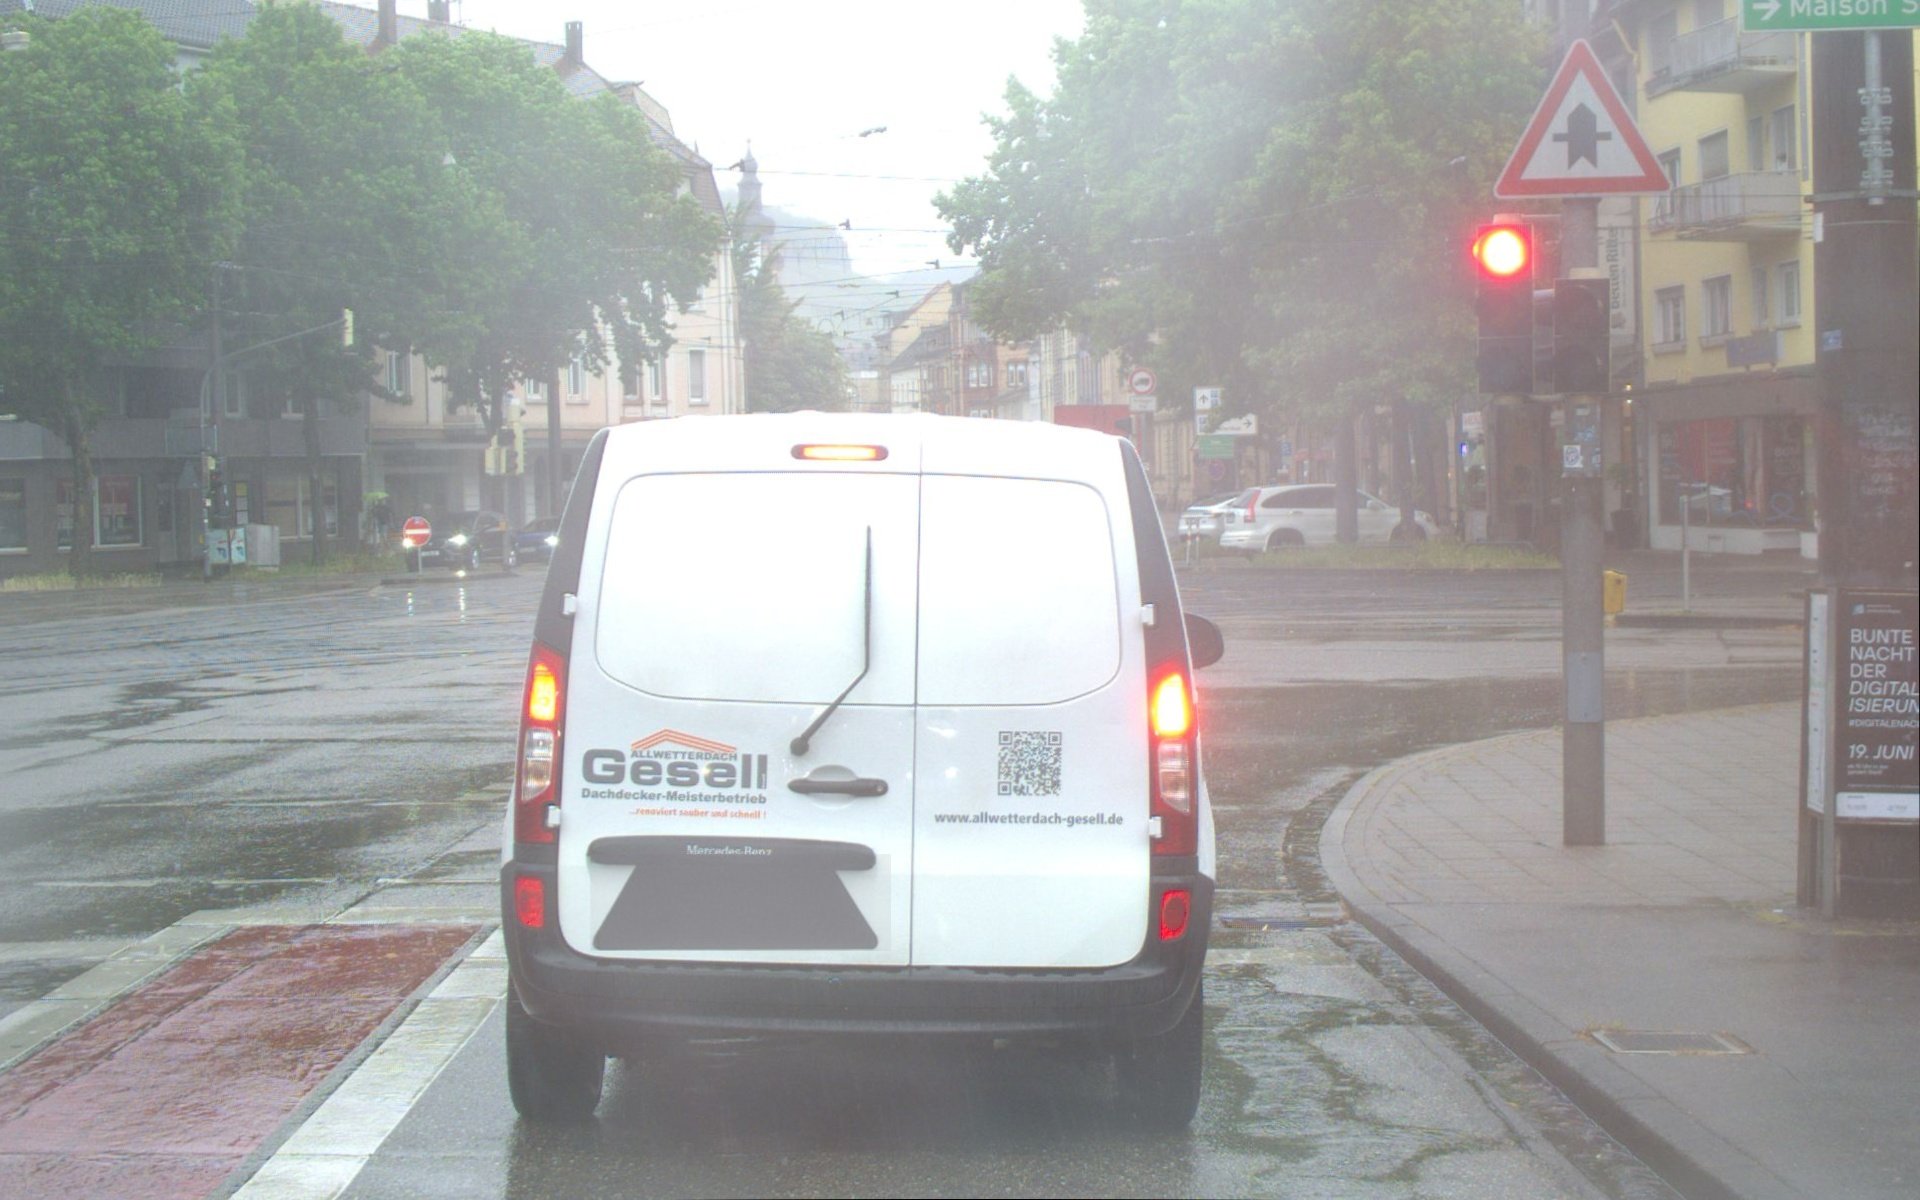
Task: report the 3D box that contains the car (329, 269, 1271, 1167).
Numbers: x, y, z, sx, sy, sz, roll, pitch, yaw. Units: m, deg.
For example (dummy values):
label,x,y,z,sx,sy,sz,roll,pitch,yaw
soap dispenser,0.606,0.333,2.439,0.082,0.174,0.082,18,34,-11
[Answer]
label,x,y,z,sx,sy,sz,roll,pitch,yaw
car,-0.382,0.224,10.226,2.100,2.005,4.963,-1,1,-1

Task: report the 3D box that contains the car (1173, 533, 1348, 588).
label,x,y,z,sx,sy,sz,roll,pitch,yaw
car,6.319,-0.837,72.413,3.441,1.126,1.472,0,1,-8

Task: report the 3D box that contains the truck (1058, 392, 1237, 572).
label,x,y,z,sx,sy,sz,roll,pitch,yaw
truck,5.903,-3.510,104.818,3.471,5.070,15.301,0,1,11

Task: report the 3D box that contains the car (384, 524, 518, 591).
label,x,y,z,sx,sy,sz,roll,pitch,yaw
car,-13.289,-1.141,90.043,1.952,1.602,3.997,0,3,16

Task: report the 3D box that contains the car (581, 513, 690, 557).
label,x,y,z,sx,sy,sz,roll,pitch,yaw
car,-9.880,-1.992,104.847,1.952,1.235,3.997,0,3,16

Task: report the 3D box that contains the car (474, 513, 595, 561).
label,x,y,z,sx,sy,sz,roll,pitch,yaw
car,-11.947,-1.784,96.800,1.952,1.235,3.997,0,3,16

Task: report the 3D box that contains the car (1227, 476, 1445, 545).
label,x,y,z,sx,sy,sz,roll,pitch,yaw
car,7.678,-1.845,70.338,4.165,1.334,1.521,-1,2,-7
